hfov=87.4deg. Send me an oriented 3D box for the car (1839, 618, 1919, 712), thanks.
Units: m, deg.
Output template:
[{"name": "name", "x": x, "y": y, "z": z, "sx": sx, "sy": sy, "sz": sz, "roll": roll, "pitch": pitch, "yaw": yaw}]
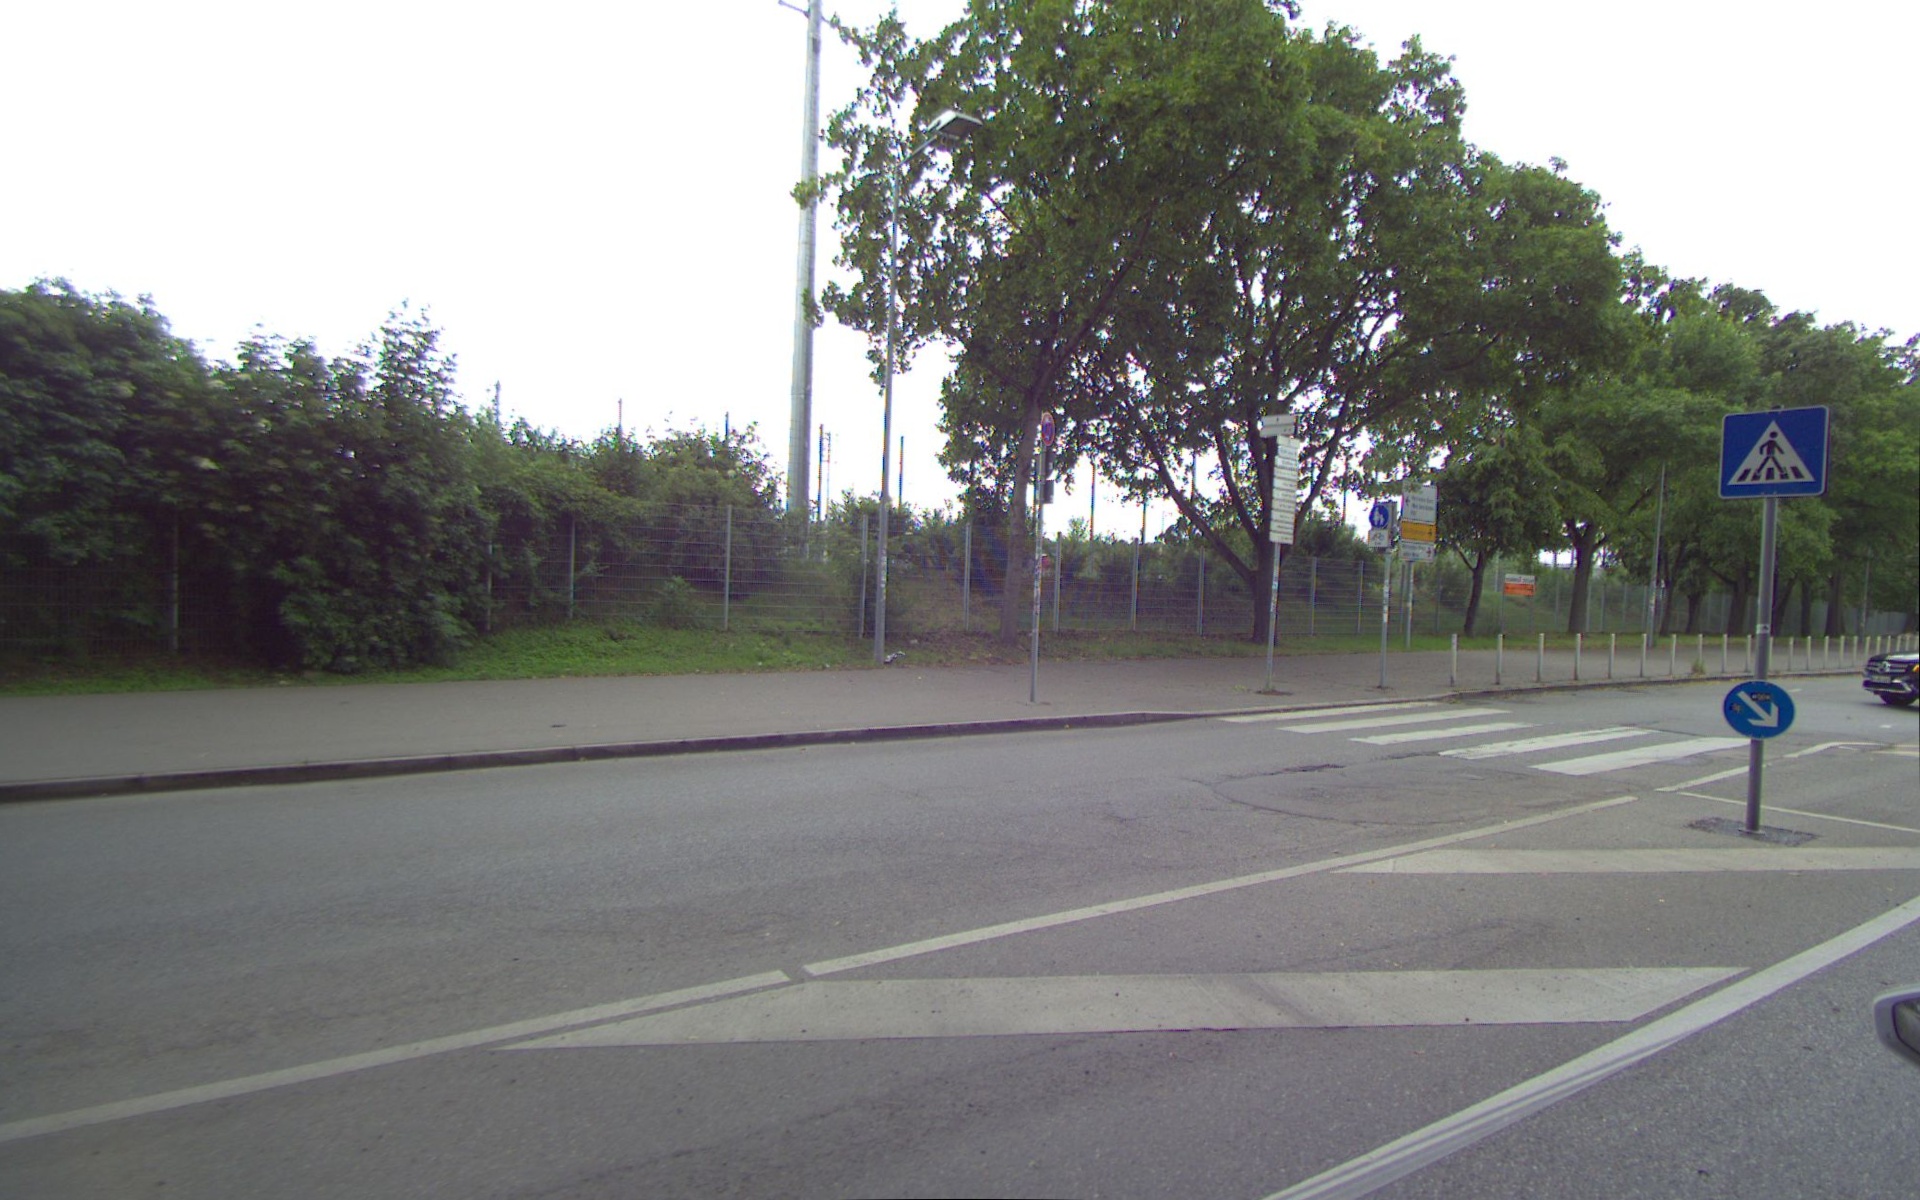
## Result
[{"name": "car", "x": 18.929, "y": 1.221, "z": 17.954, "sx": 4.457, "sy": 1.595, "sz": 1.846, "roll": 2, "pitch": 1, "yaw": 12}]
